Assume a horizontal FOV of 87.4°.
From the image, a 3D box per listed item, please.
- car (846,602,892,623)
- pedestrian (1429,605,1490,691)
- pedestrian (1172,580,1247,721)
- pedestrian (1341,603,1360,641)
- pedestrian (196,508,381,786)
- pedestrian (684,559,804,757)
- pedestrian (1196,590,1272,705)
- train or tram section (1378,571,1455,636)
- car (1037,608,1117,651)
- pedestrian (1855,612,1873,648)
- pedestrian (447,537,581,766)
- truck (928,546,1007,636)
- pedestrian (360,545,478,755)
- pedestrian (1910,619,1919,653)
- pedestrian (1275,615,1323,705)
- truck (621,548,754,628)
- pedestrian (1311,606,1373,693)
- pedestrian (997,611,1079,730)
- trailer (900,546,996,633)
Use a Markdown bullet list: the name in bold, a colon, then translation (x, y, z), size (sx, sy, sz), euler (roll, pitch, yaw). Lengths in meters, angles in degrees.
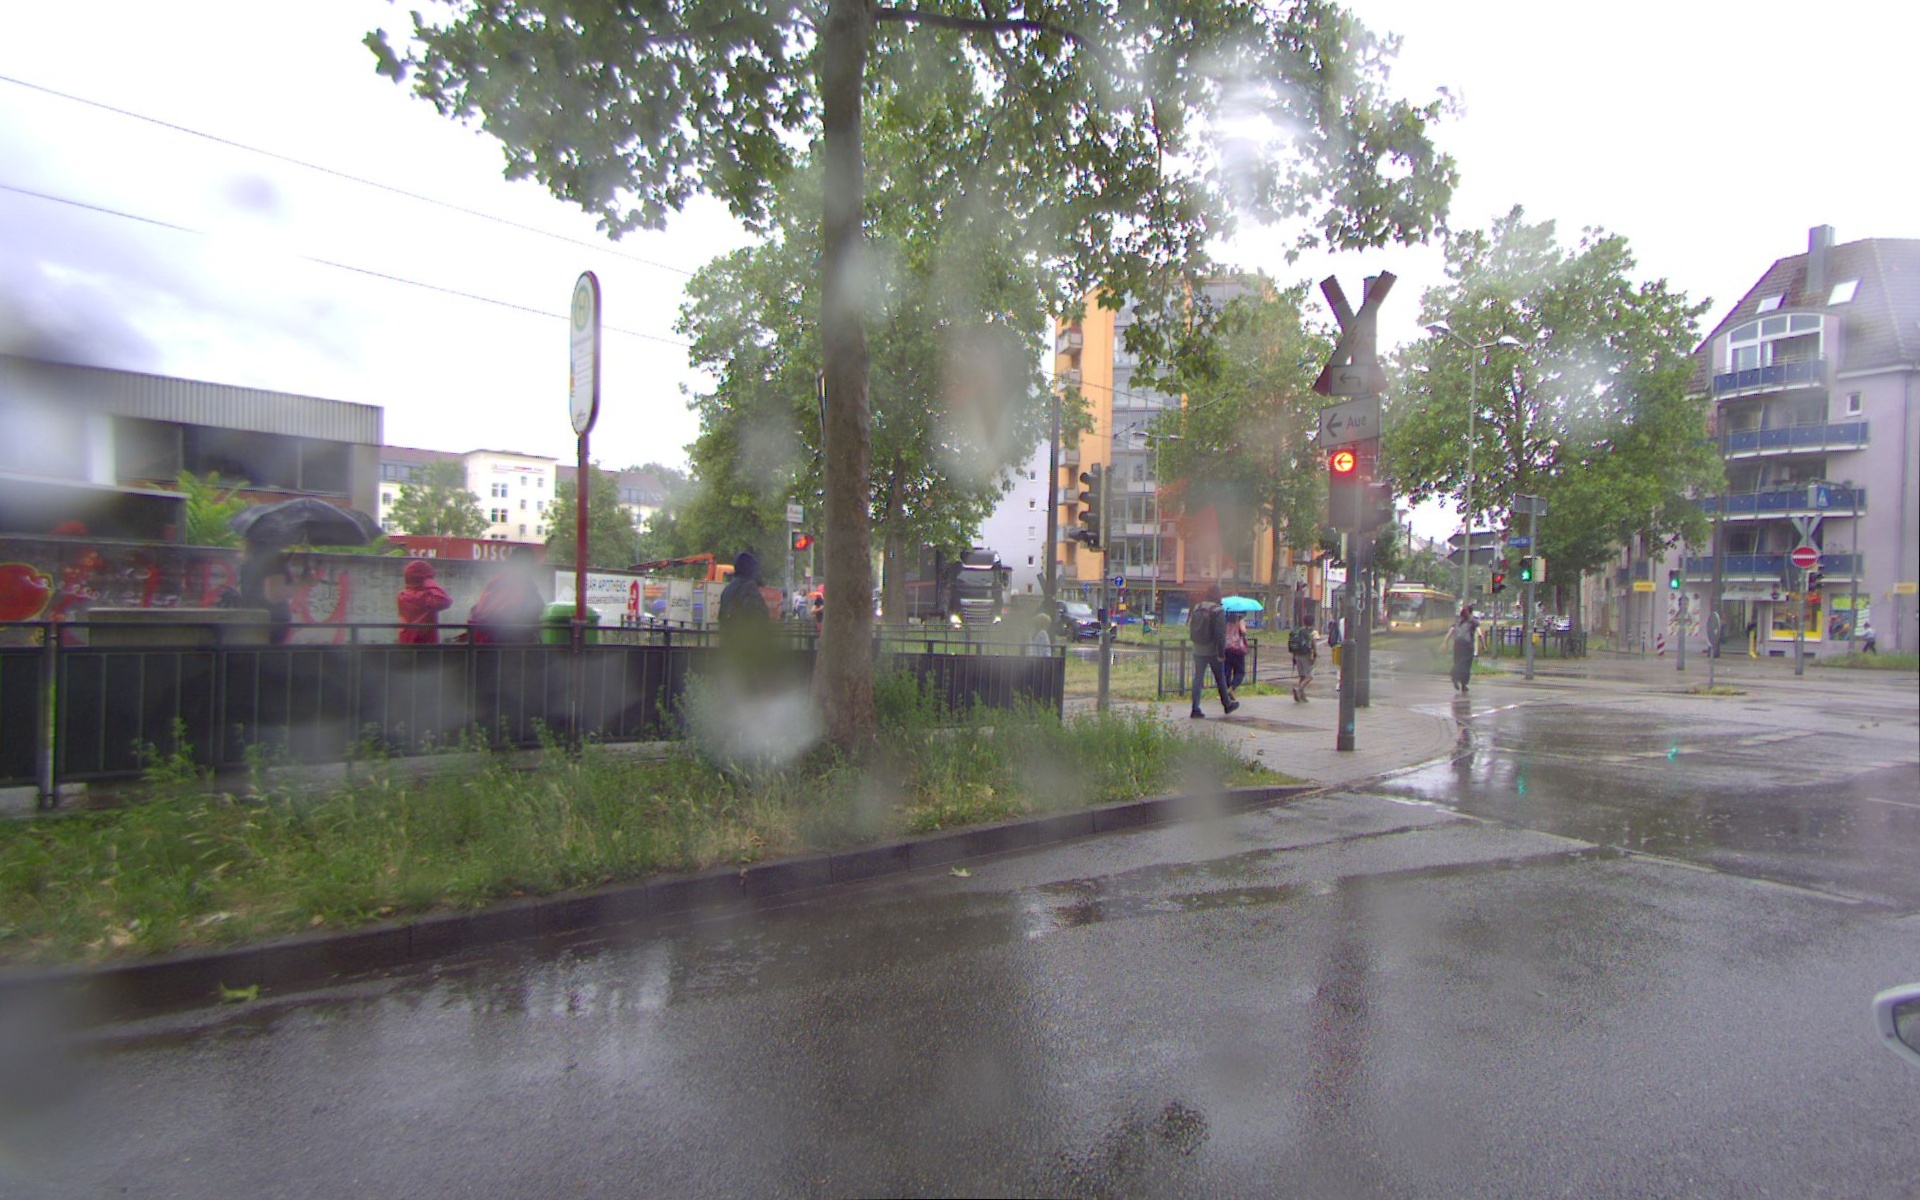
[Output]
- **car**: translation (-8.257, 1.148, 90.933), size (3.930, 1.808, 1.996), euler (2, 0, -12)
- **pedestrian**: translation (9.340, 0.891, 18.793), size (0.785, 1.553, 0.743), euler (2, 0, -41)
- **pedestrian**: translation (3.456, 0.675, 13.911), size (0.777, 1.880, 0.679), euler (2, 1, 37)
- **pedestrian**: translation (23.051, 1.288, 59.310), size (0.871, 2.179, 0.910), euler (2, 0, 29)
- **pedestrian**: translation (-4.416, 0.298, 6.621), size (0.783, 1.705, 0.659), euler (-2, 0, 23)
- **pedestrian**: translation (-1.964, 0.507, 9.185), size (0.823, 1.722, 0.689), euler (-1, 0, 17)
- **pedestrian**: translation (4.483, 0.751, 16.420), size (0.943, 1.789, 0.951), euler (2, 0, 31)
- **train or tram section**: translation (30.749, 0.346, 67.079), size (2.839, 3.818, 17.211), euler (2, 0, 30)
- **car**: translation (4.640, 1.134, 40.424), size (1.585, 1.551, 4.017), euler (1, 1, -19)
- **pedestrian**: translation (37.729, 1.248, 41.910), size (0.557, 1.477, 0.440), euler (2, 0, -39)
- **pedestrian**: translation (-3.440, 0.370, 7.744), size (0.809, 1.646, 0.724), euler (0, 0, -37)
- **truck**: translation (0.269, -0.401, 46.055), size (2.593, 3.842, 4.444), euler (2, 0, -13)
- **pedestrian**: translation (-4.227, 0.370, 7.843), size (0.654, 1.540, 0.675), euler (1, 0, -42)
- **pedestrian**: translation (39.240, 1.477, 41.041), size (0.437, 1.347, 0.560), euler (2, 0, 30)
- **pedestrian**: translation (5.579, 0.961, 16.511), size (0.638, 1.414, 0.782), euler (1, 0, 26)
- **truck**: translation (-11.776, -0.483, 43.595), size (5.383, 3.205, 2.164), euler (2, 0, -16)
- **pedestrian**: translation (7.391, 0.940, 19.439), size (0.956, 1.622, 0.670), euler (-1, 1, -30)
- **pedestrian**: translation (0.938, 0.822, 12.101), size (0.704, 1.367, 0.650), euler (1, 1, -44)
- **trailer**: translation (-0.824, -0.478, 50.745), size (2.593, 3.899, 10.114), euler (2, 0, -13)
